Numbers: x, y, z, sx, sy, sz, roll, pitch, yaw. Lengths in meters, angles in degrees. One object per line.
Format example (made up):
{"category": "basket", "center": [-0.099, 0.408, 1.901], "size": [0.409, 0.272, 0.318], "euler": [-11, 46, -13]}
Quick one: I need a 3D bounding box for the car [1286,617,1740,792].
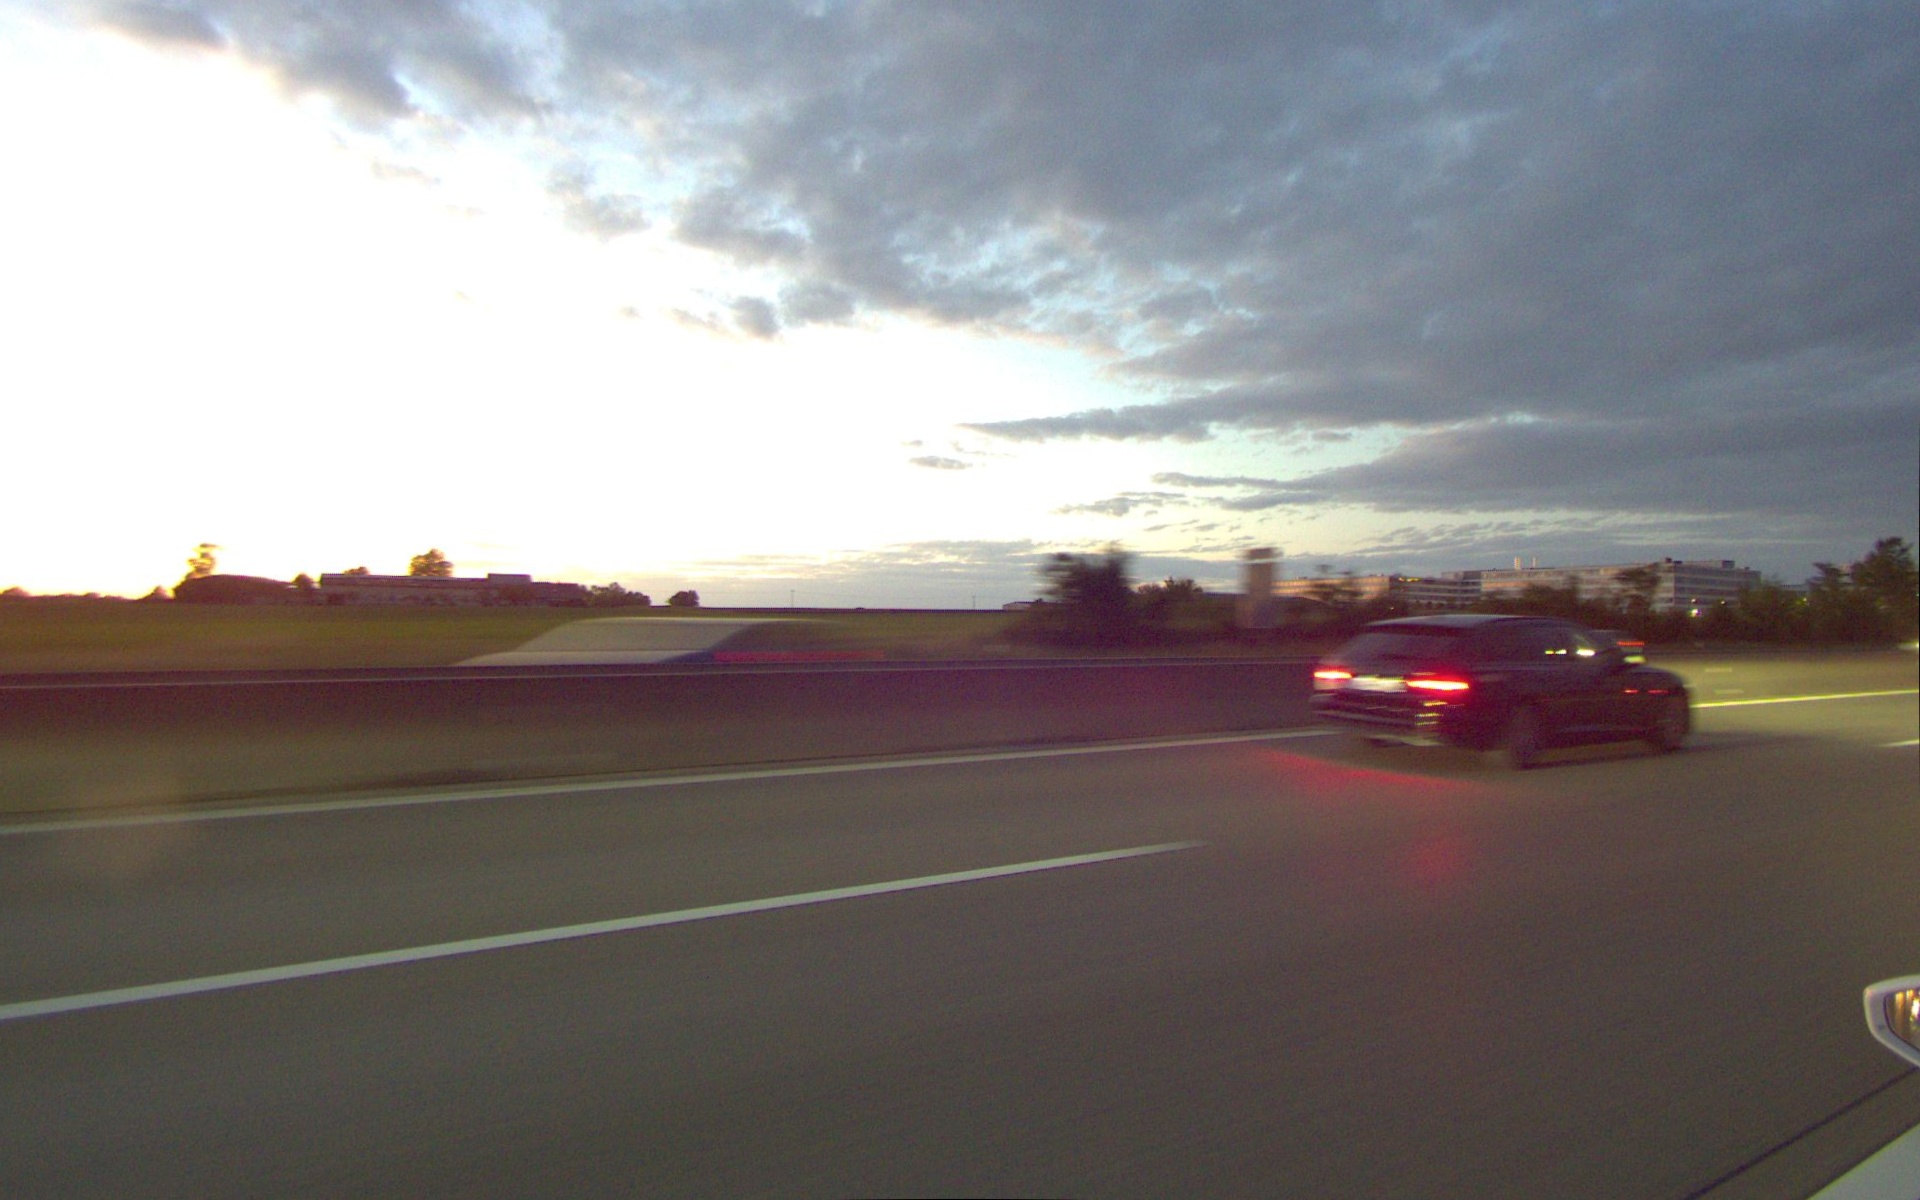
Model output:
{"category": "car", "center": [6.061, 0.961, 10.766], "size": [5.332, 1.456, 1.805], "euler": [1, 0, -31]}

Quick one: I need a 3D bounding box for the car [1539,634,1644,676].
{"category": "car", "center": [25.746, 2.242, 40.898], "size": [4.468, 1.556, 1.735], "euler": [2, 0, -30]}

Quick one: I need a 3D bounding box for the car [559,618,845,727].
{"category": "car", "center": [-3.821, 1.037, 15.032], "size": [3.856, 1.405, 1.596], "euler": [2, 0, -30]}
